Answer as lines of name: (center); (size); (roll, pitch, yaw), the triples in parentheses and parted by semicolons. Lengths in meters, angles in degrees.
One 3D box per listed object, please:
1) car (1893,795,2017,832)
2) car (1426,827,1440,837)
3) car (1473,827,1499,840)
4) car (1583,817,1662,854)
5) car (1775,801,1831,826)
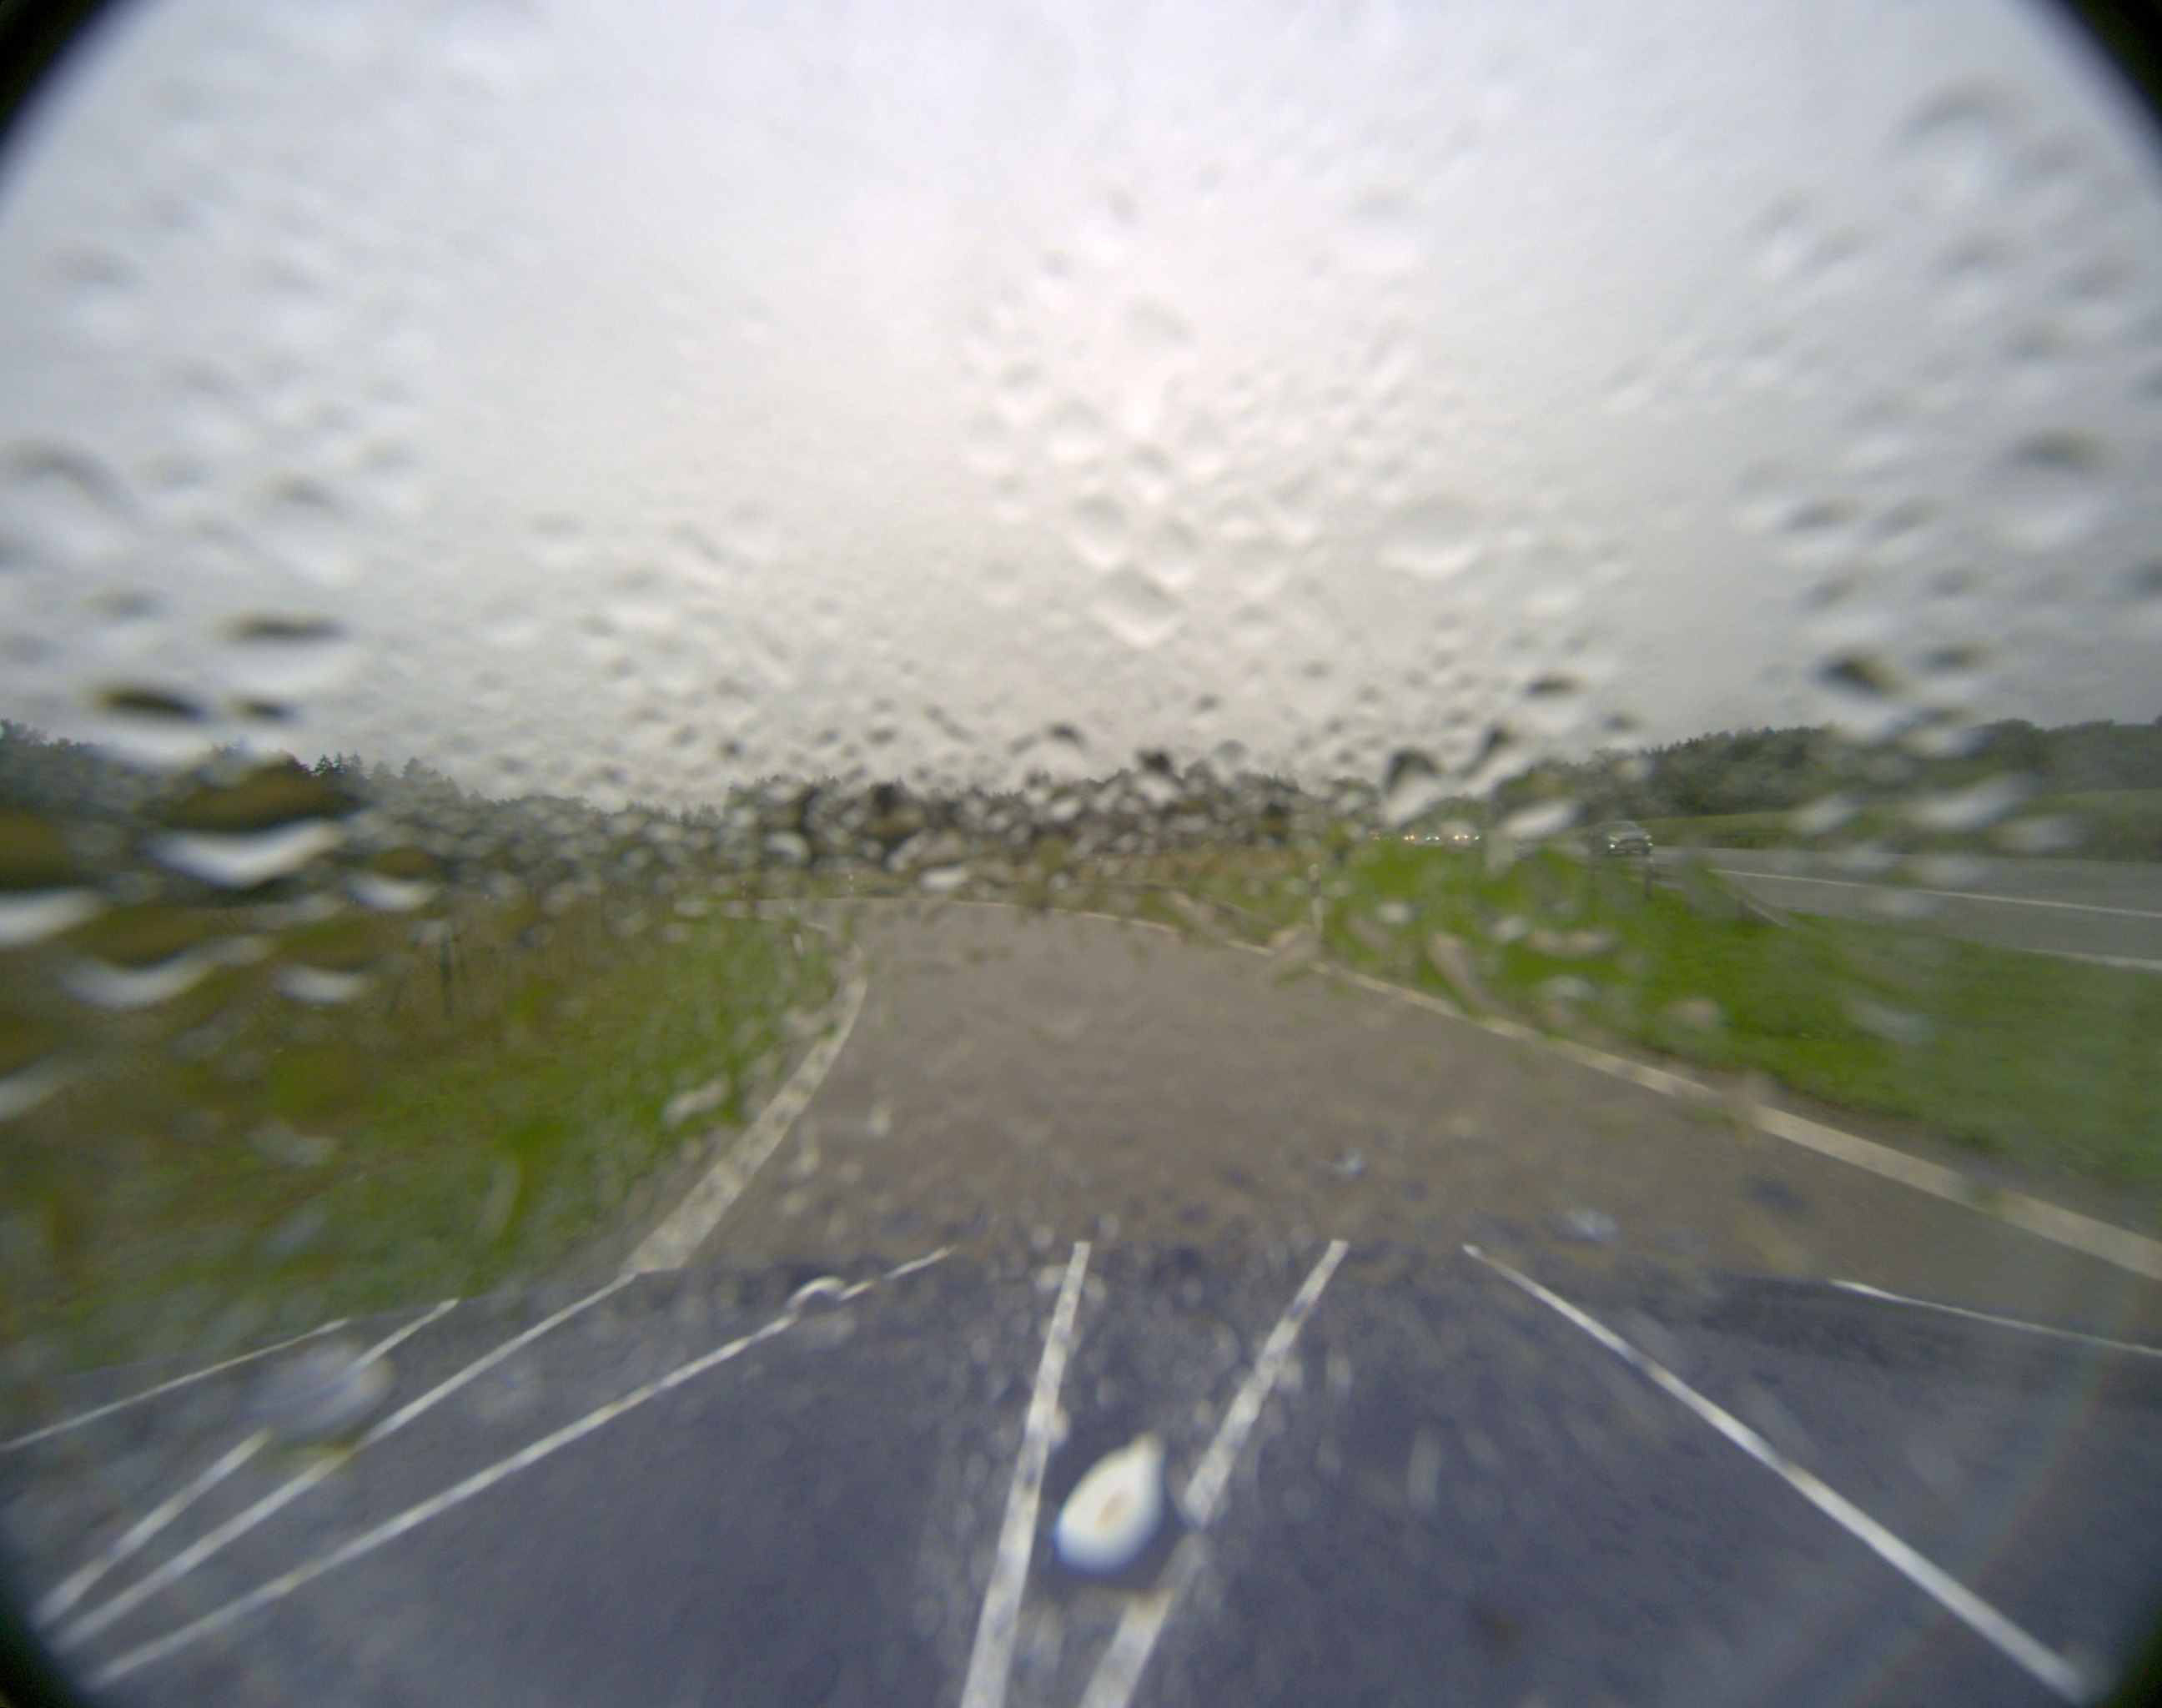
car: (42.532, -1.929, 37.160); (2.107, 1.530, 4.537); (-4, 0, 22)
car: (65.069, -4.043, 140.533); (2.147, 1.627, 4.601); (-2, 1, 22)
car: (45.384, -2.310, 85.271); (2.095, 1.445, 4.601); (-2, 1, 22)
car: (26.782, -0.938, 37.784); (1.864, 1.625, 5.108); (-3, 1, 20)
car: (59.152, -3.286, 62.302); (1.732, 1.726, 4.005); (-4, 0, 19)
